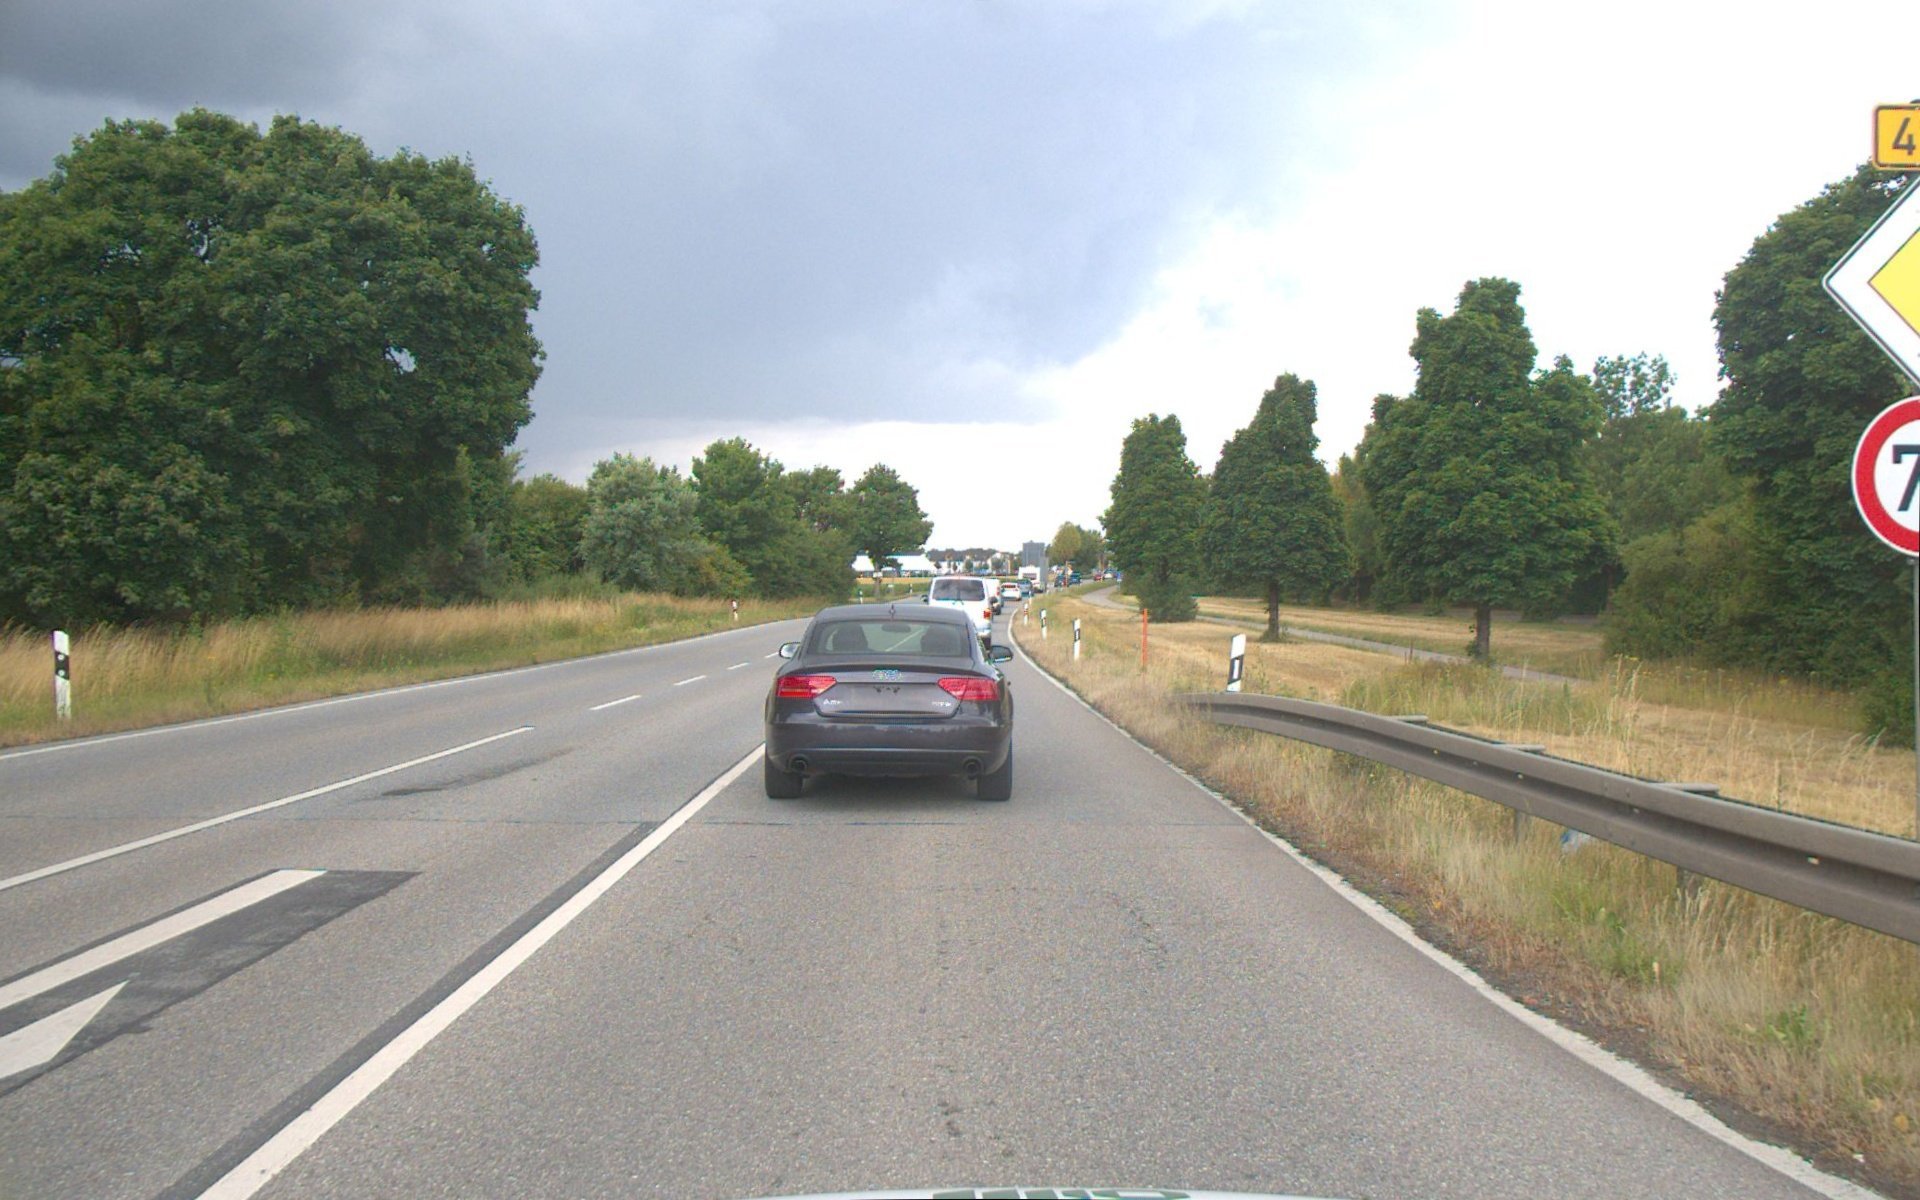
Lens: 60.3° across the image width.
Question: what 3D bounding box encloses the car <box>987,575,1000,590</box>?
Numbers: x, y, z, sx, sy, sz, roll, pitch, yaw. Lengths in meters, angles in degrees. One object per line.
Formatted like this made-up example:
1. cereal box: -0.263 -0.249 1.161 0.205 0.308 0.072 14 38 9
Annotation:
1. car: 4.252 -2.203 212.160 1.562 1.834 3.200 1 1 0

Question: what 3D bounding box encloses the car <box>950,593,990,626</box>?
1. car: 0.490 0.429 76.998 1.758 1.489 3.249 1 0 2

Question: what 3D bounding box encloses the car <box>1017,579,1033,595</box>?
1. car: 5.885 -1.182 149.532 1.231 1.377 3.468 0 0 5

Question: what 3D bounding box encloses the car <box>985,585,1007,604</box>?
1. car: 2.482 -0.398 113.334 1.503 1.300 3.747 0 0 1

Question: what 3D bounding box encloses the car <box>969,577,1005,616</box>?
1. car: 1.551 -0.188 92.964 1.952 2.125 4.001 0 0 2

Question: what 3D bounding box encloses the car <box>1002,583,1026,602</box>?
1. car: 4.299 -0.607 132.053 1.699 1.541 3.749 0 0 5

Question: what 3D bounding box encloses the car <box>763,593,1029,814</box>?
1. car: -0.466 0.685 13.054 1.747 1.400 3.999 1 1 -1

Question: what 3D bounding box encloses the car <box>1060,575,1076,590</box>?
1. car: 15.429 -2.458 236.097 1.953 2.049 3.999 0 0 -2

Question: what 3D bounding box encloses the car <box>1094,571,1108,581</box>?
1. car: 22.205 -3.721 259.948 1.784 1.519 4.000 1 1 0

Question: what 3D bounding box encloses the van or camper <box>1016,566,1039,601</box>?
1. van or camper: 6.916 -1.684 168.694 2.292 3.542 5.720 1 0 2

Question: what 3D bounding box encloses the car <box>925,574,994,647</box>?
1. car: -0.063 0.242 46.035 1.801 1.915 3.999 1 1 -1

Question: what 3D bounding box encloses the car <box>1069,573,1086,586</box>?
1. car: 15.050 -2.603 211.929 1.784 1.624 4.000 1 1 0

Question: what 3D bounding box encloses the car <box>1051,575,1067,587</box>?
1. car: 12.779 -2.437 213.732 1.684 1.476 4.000 1 1 0
